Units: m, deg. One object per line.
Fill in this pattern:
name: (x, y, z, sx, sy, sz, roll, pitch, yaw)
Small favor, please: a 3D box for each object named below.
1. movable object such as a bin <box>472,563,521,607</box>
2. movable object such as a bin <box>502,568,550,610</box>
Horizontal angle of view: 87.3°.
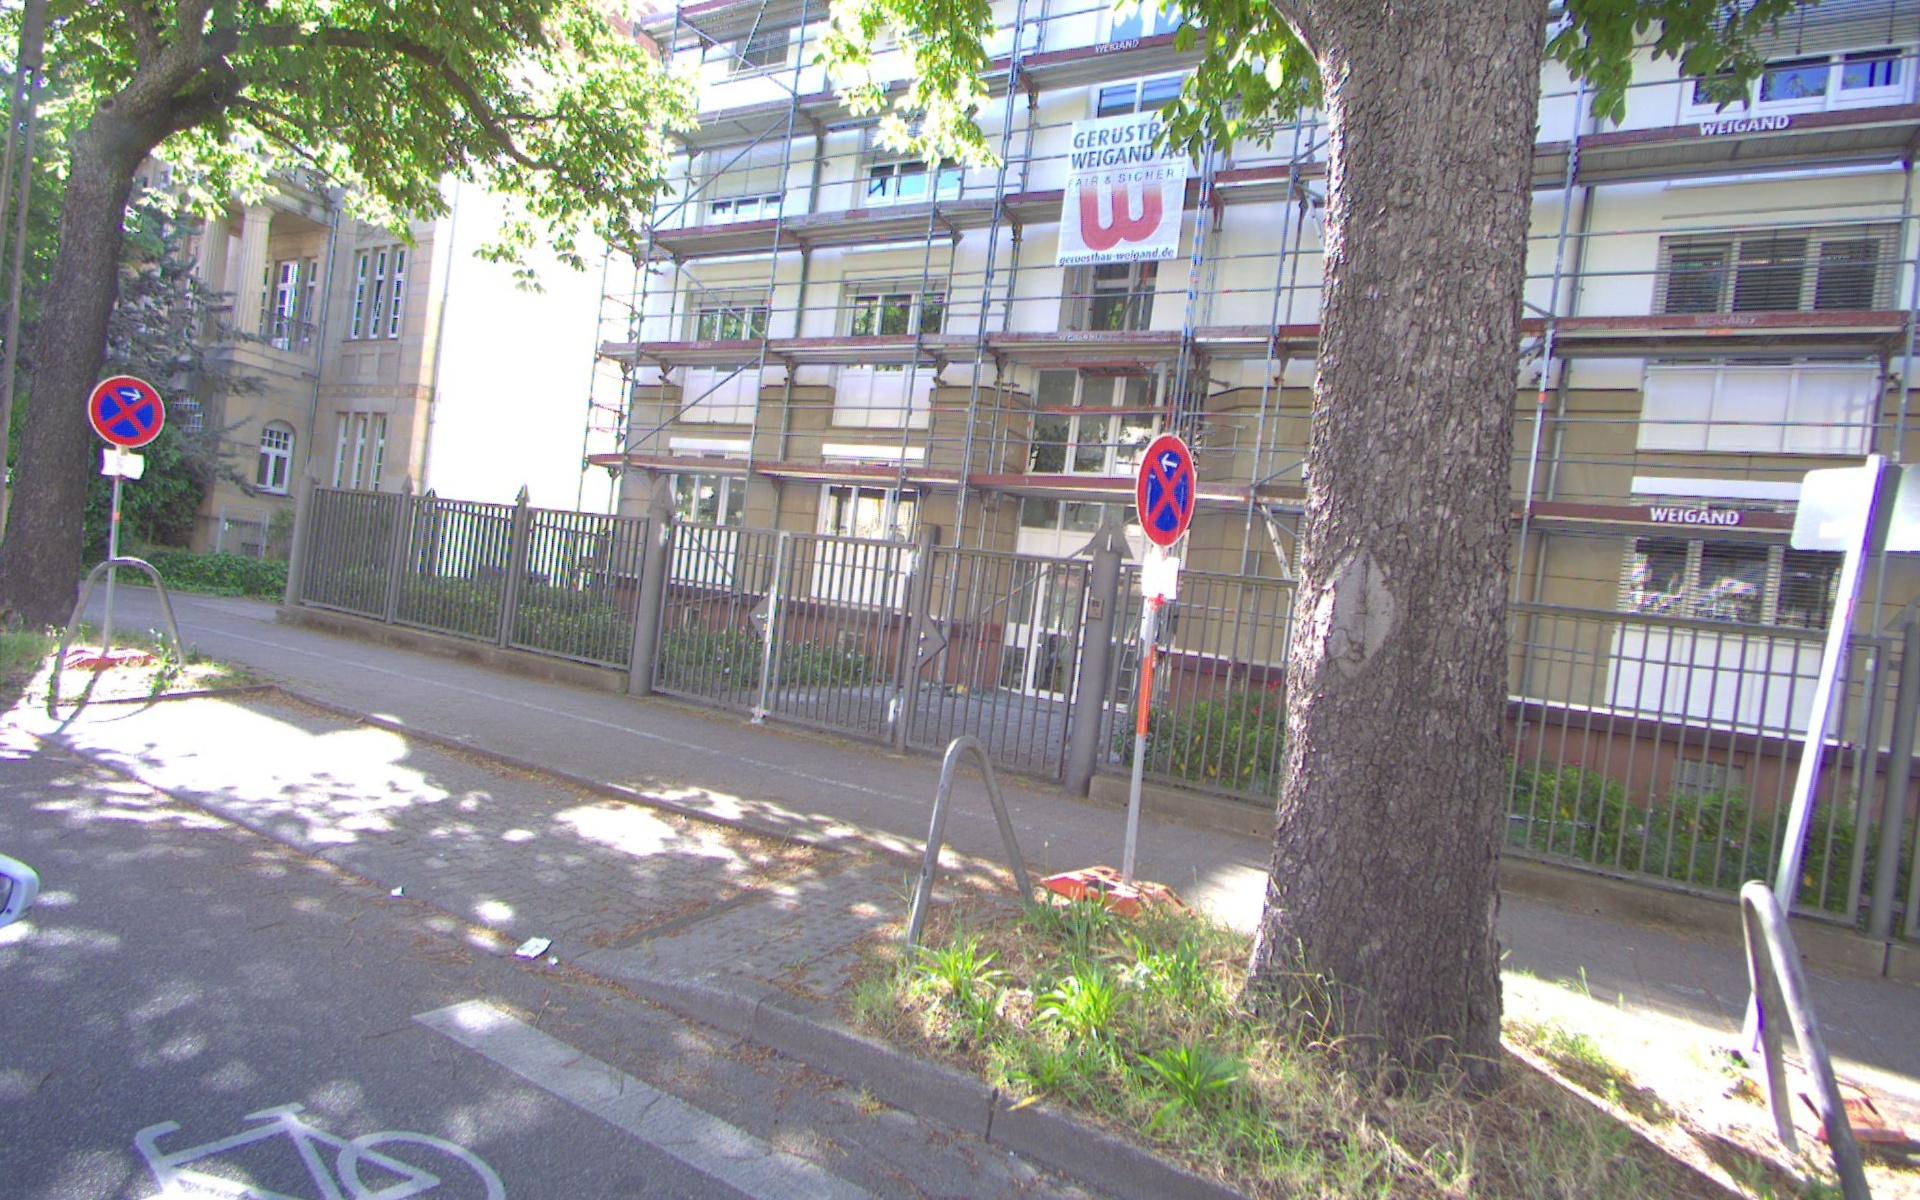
movable object such as a bin: (-11.717, -0.373, 25.444, 0.637, 0.966, 0.835, 6, -2, 30)
movable object such as a bin: (-11.296, -0.287, 26.201, 0.637, 0.966, 0.835, 6, -2, 30)
